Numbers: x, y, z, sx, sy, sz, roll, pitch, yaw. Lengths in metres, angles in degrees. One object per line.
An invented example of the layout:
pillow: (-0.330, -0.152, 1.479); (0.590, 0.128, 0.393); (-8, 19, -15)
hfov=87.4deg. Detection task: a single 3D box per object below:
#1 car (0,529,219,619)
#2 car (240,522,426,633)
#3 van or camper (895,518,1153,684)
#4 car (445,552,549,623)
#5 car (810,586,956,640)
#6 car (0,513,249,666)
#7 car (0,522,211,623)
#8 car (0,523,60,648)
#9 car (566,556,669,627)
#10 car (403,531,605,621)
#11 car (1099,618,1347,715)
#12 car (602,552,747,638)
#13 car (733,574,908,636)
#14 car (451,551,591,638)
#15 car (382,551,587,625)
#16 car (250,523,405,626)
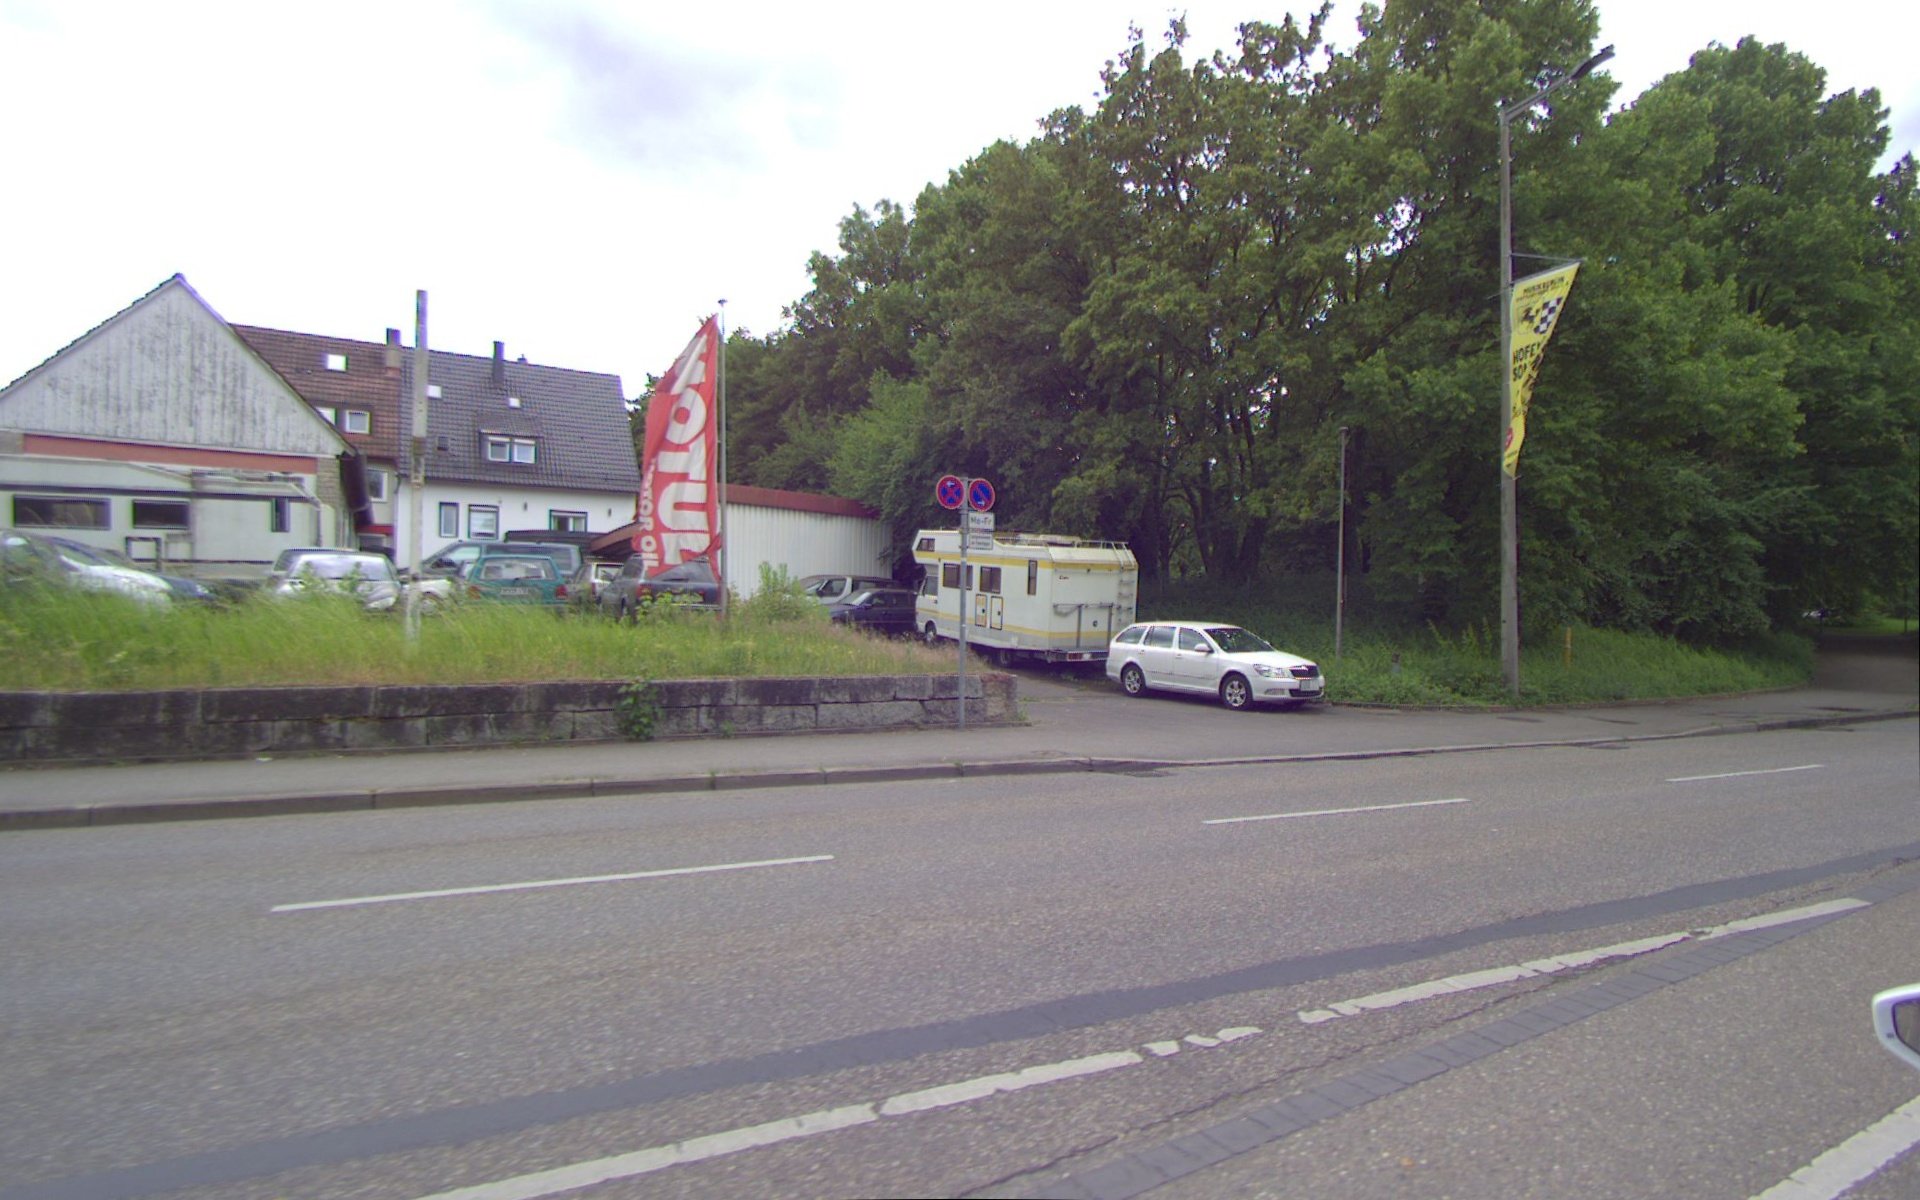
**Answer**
car: (-15.079, -0.432, 16.698); (4.238, 1.336, 1.660); (2, 0, -31)
car: (-9.272, -0.293, 15.174); (1.892, 1.397, 3.828); (2, 0, -25)
van or camper: (1.244, -0.191, 24.693); (2.763, 3.417, 7.106); (1, 4, -30)
car: (-9.662, -0.250, 21.002); (1.773, 1.284, 3.975); (2, 0, -25)
car: (-2.181, 0.367, 28.624); (3.828, 1.364, 1.508); (2, 1, -29)
car: (-9.955, -0.110, 12.027); (1.625, 1.512, 3.975); (2, 0, -25)
car: (-13.599, -0.379, 14.459); (4.353, 1.359, 1.837); (2, -1, -33)
car: (-11.521, -0.185, 10.866); (1.513, 1.429, 3.975); (2, 0, -25)
car: (-7.892, -0.181, 22.946); (1.822, 1.419, 3.733); (2, 0, -25)
car: (-12.060, -0.584, 26.645); (4.695, 2.090, 1.871); (2, 0, -30)
car: (4.759, 1.138, 18.796); (1.940, 1.460, 4.350); (1, 0, -32)
car: (-5.458, -0.080, 18.835); (1.973, 1.388, 3.975); (2, 0, -25)
car: (-4.214, 0.167, 30.533); (4.909, 1.711, 1.893); (2, 0, -29)
car: (-7.623, -0.085, 17.227); (1.863, 1.285, 3.914); (2, 0, -28)
car: (-11.580, -0.251, 24.546); (4.349, 1.549, 1.984); (2, 0, -30)
car: (-11.671, -0.434, 18.800); (1.907, 1.650, 3.975); (2, 0, -25)
